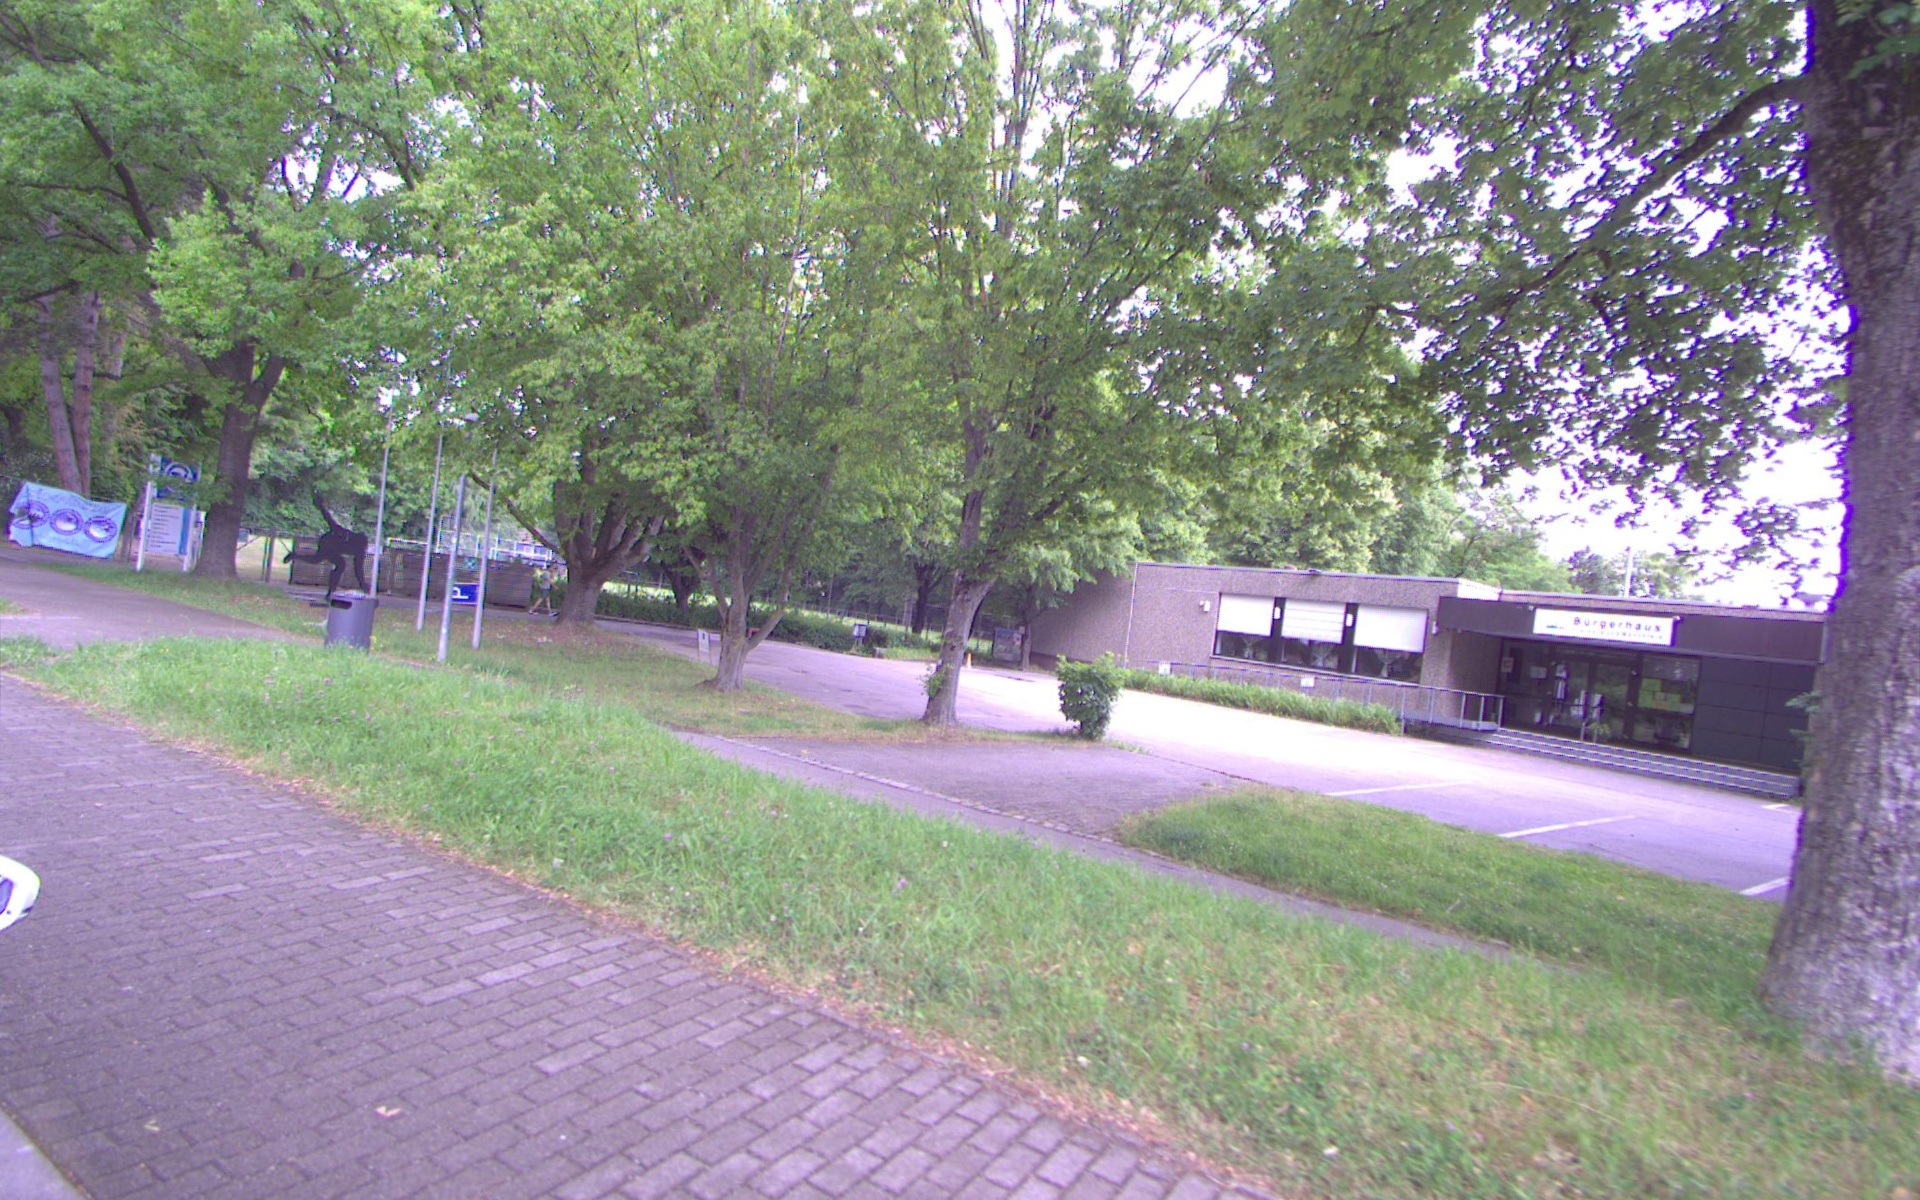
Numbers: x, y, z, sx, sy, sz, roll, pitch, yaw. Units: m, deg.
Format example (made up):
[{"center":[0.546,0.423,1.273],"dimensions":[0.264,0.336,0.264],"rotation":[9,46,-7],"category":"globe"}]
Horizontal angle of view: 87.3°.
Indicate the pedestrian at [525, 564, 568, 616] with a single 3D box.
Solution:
[{"center":[-14.400,-0.346,35.016],"dimensions":[1.140,1.695,0.786],"rotation":[5,1,-33],"category":"pedestrian"}]
